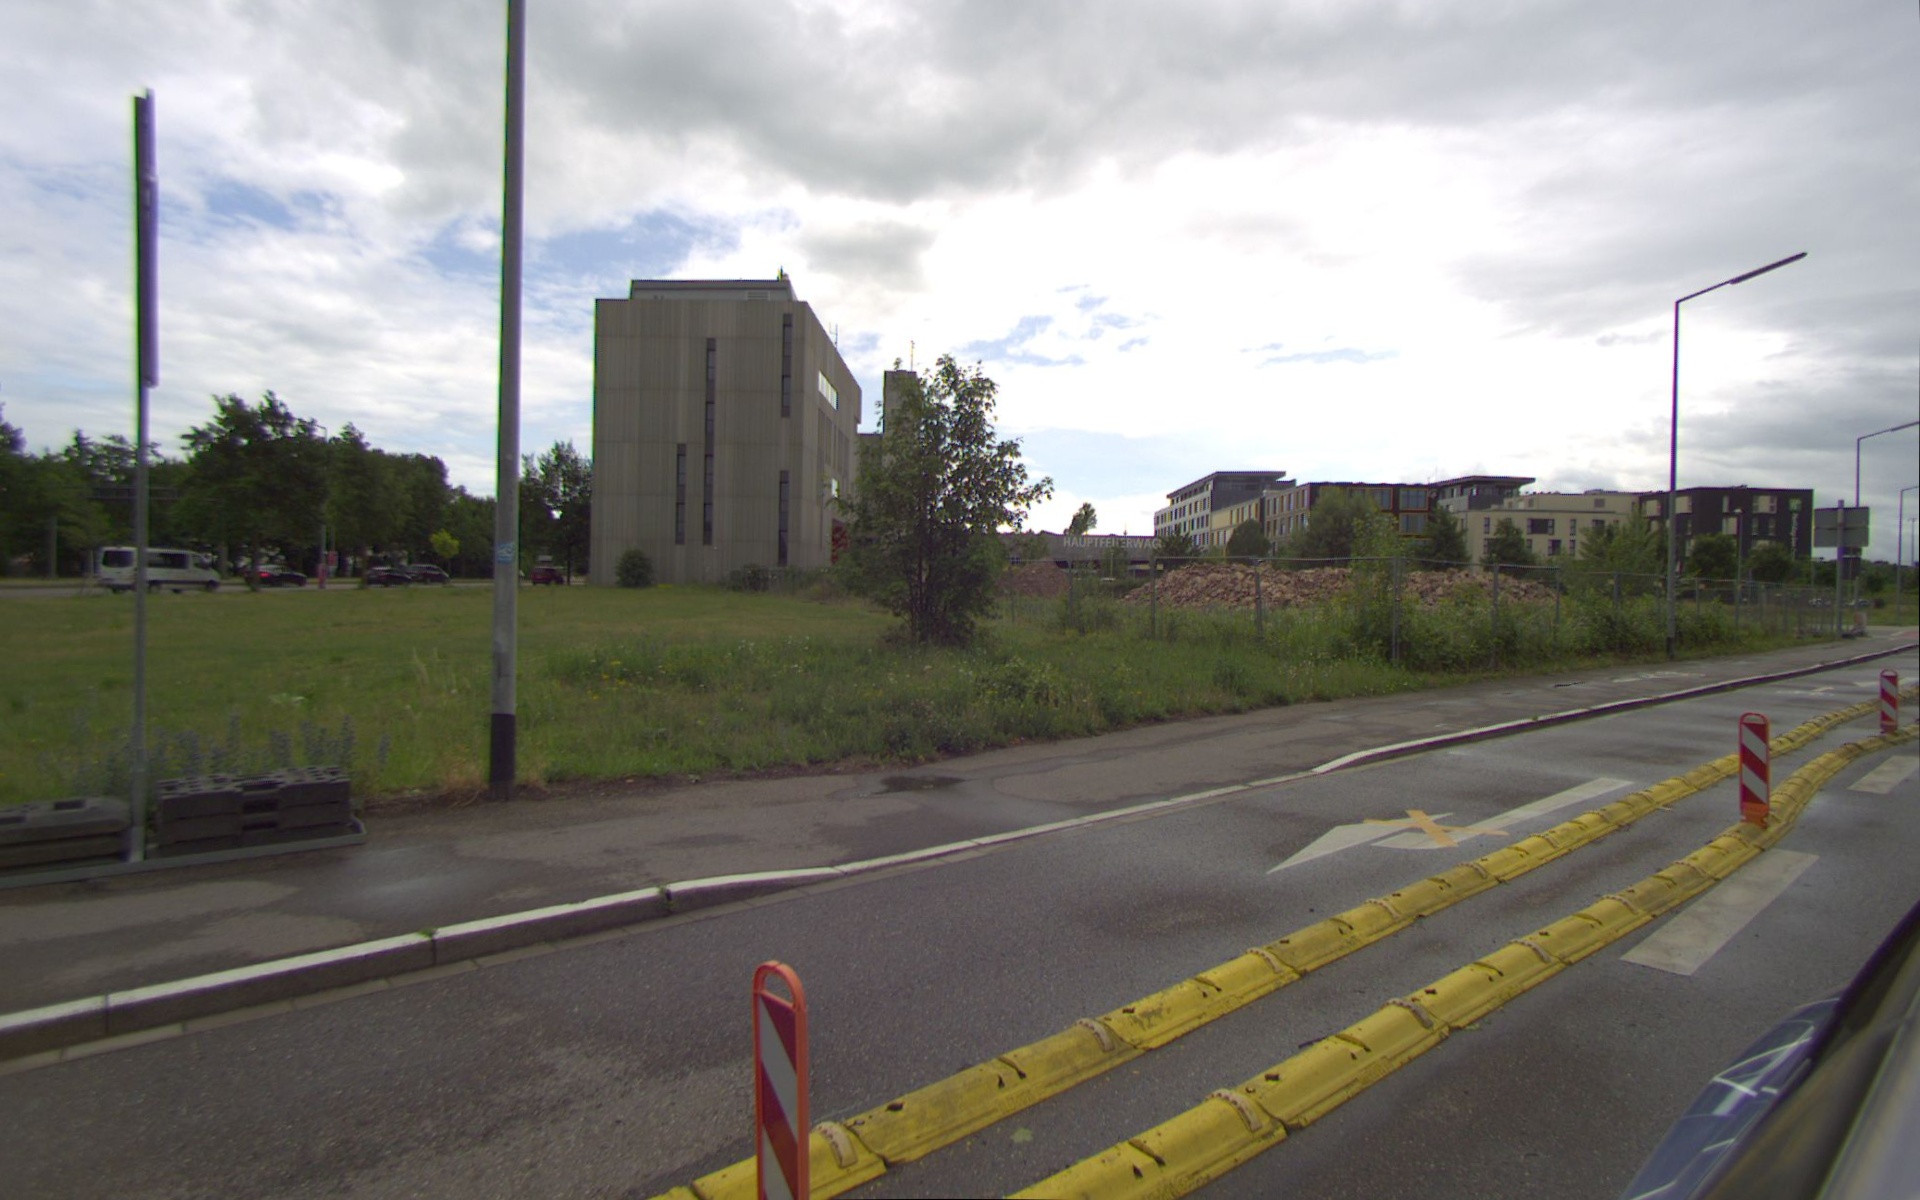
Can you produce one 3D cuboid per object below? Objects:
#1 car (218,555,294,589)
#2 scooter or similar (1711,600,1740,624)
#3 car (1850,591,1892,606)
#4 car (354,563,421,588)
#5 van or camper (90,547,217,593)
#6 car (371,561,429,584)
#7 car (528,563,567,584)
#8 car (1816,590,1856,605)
[{"bbox_3d":[-45.053,-1.779,64.883,1.963,2.039,3.998,1,1,2],"label":"car"},{"bbox_3d":[39.359,0.609,52.065,0.437,1.200,1.327,1,1,0],"label":"scooter or similar"},{"bbox_3d":[126.771,-0.238,140.890,3.925,2.039,2.000,1,1,1],"label":"car"},{"bbox_3d":[-43.032,-1.848,76.176,2.079,1.817,4.601,1,1,6],"label":"car"},{"bbox_3d":[-40.817,-1.497,51.444,1.963,2.142,5.551,1,1,1],"label":"van or camper"},{"bbox_3d":[-45.996,-2.219,83.189,2.077,1.817,4.606,1,1,3],"label":"car"},{"bbox_3d":[-40.085,-2.535,98.442,2.075,1.941,4.209,1,1,-1],"label":"car"},{"bbox_3d":[127.738,-0.366,147.582,3.925,2.039,2.000,1,1,1],"label":"car"}]
